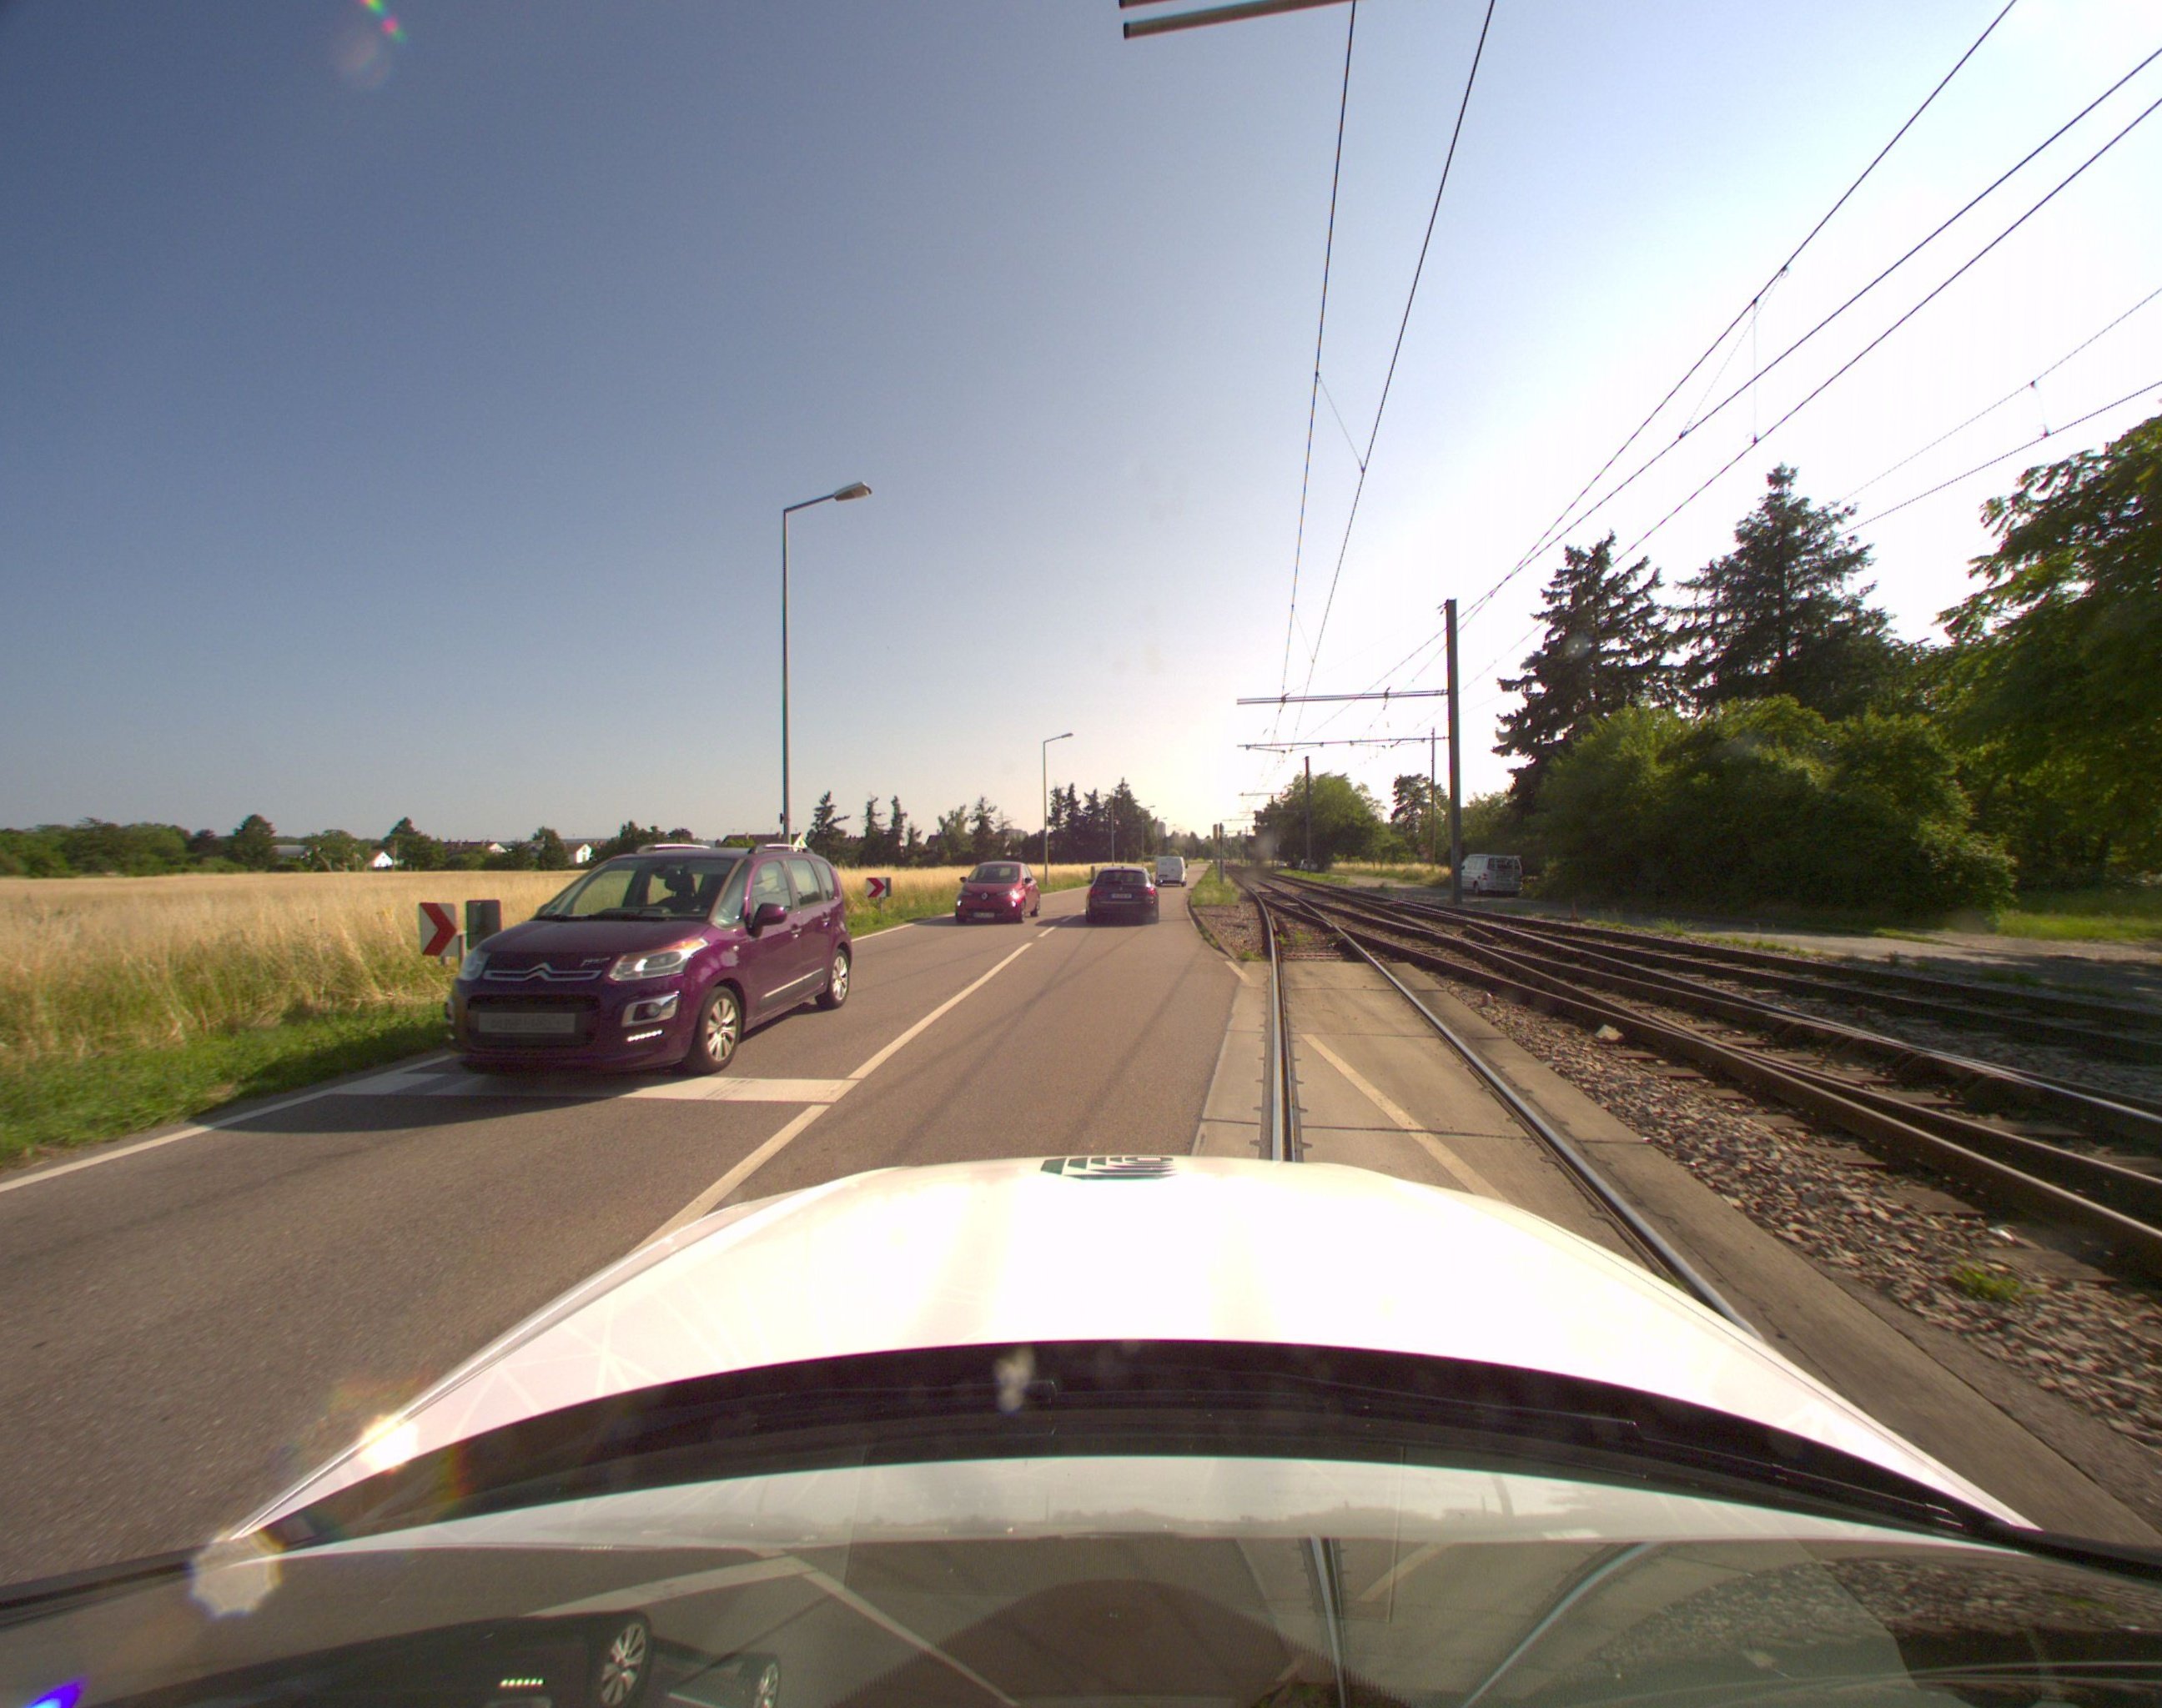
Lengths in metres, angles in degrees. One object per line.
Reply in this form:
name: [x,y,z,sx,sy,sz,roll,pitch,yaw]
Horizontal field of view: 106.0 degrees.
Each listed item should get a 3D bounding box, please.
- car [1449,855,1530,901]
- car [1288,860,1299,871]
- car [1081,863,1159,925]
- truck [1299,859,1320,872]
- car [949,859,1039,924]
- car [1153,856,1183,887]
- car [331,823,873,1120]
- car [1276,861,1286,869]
car: [19.891,1.139,39.922,1.982,2.004,5.079,3,0,8]
car: [37.100,2.045,142.159,1.723,1.680,3.555,1,-2,12]
car: [1.126,1.000,22.103,1.860,1.452,4.749,1,-1,4]
truck: [32.094,1.598,114.514,2.191,1.819,5.944,0,-1,9]
car: [-2.219,0.919,21.794,1.705,1.549,3.932,1,0,4]
car: [5.986,1.149,55.590,1.847,1.988,5.119,1,0,8]
car: [-3.320,0.676,6.934,1.699,1.665,4.593,1,0,3]
car: [39.413,2.193,160.171,1.611,1.399,3.498,1,-2,9]
